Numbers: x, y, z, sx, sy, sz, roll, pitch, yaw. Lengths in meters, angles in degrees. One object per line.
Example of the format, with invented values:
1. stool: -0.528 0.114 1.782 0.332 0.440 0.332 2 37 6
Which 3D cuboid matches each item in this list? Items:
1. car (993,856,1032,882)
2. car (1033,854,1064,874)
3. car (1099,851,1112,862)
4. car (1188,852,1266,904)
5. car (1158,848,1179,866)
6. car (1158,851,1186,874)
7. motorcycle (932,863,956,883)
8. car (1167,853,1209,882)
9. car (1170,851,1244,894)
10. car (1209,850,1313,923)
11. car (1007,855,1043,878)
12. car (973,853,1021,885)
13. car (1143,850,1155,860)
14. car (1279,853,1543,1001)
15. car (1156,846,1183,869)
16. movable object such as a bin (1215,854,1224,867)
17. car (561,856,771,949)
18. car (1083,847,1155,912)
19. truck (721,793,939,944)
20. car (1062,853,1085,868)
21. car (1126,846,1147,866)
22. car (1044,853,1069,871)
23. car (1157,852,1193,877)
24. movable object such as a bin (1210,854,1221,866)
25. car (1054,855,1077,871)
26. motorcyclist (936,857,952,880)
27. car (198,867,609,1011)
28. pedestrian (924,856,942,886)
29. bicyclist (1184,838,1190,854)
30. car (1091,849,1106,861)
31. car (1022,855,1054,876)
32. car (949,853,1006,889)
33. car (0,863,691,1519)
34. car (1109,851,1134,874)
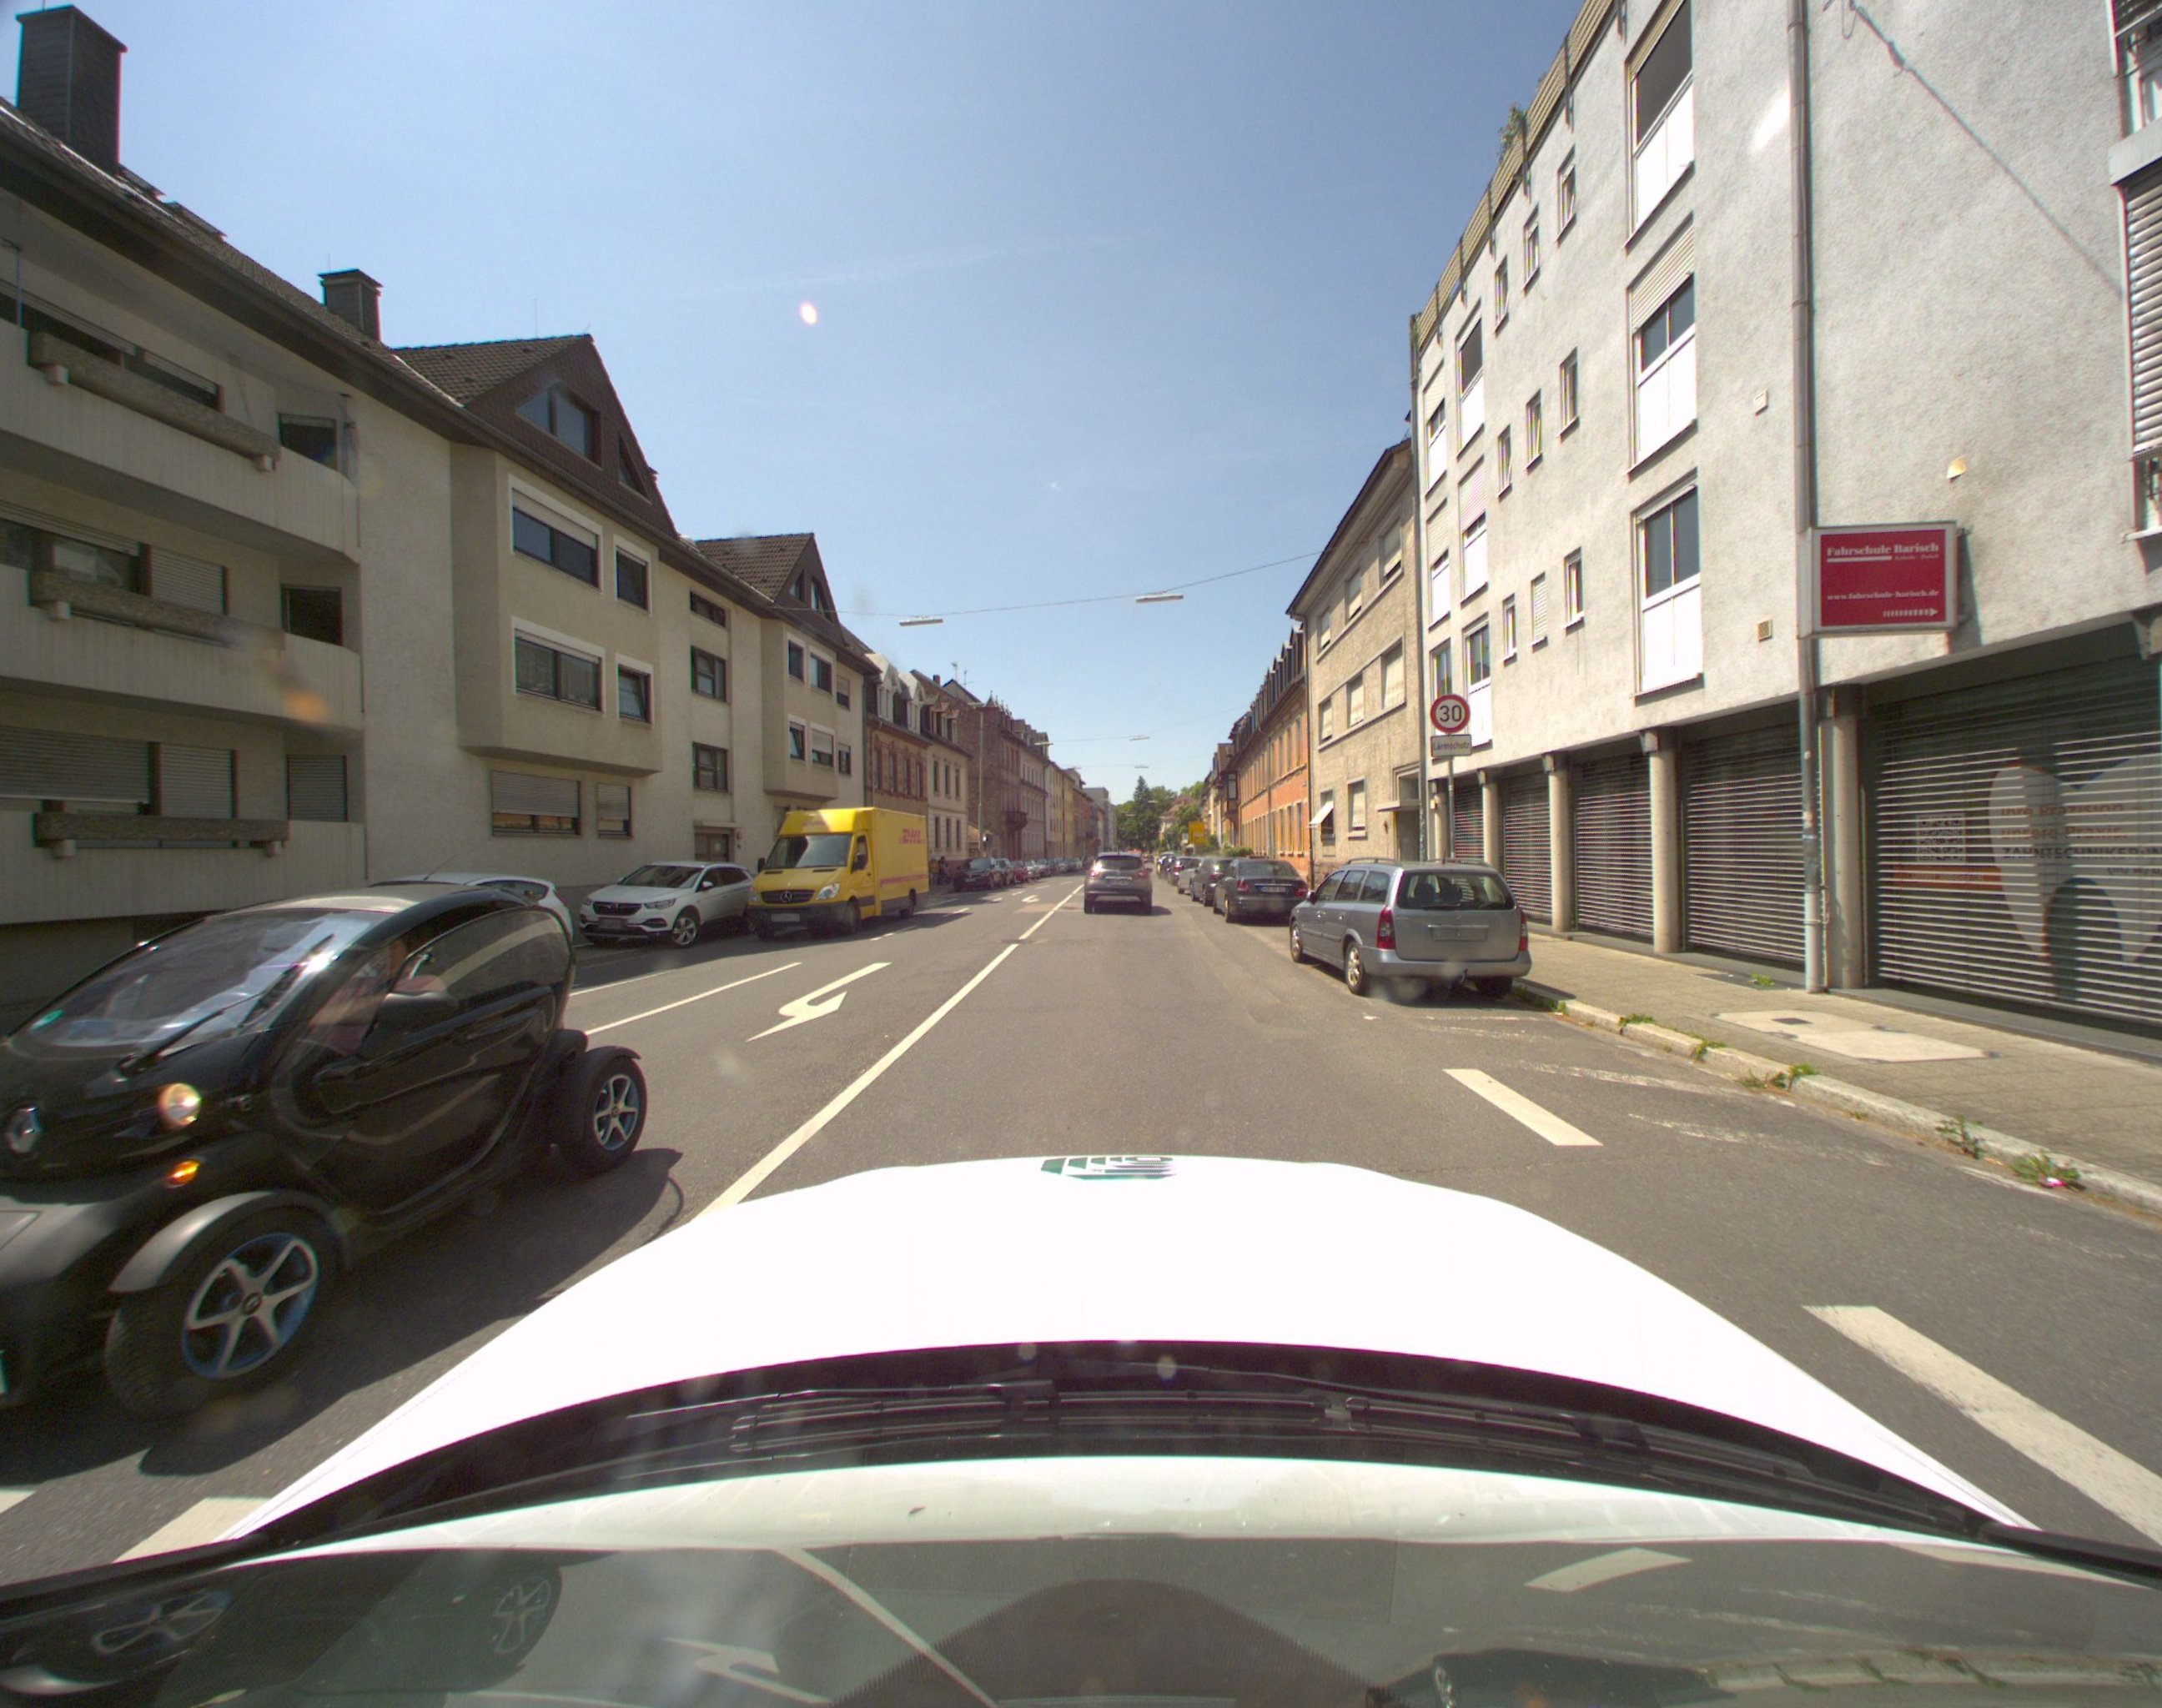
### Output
1. car: -4.197 0.914 50.789 1.833 1.422 4.504 -4 0 2
2. car: -2.743 0.820 69.144 1.830 1.422 4.510 -5 -1 6
3. car: 3.956 0.360 131.000 1.897 1.619 4.304 -3 0 2
4. car: 4.358 0.662 24.865 1.646 1.420 4.048 -1 0 0
5. car: 8.745 0.280 81.535 1.853 1.747 4.621 1 0 3
6. car: 6.074 0.559 54.730 1.708 1.414 4.596 -2 0 5
7. motorcycle: -7.687 1.063 45.735 0.841 1.078 1.874 -1 0 5
8. car: 5.293 0.654 40.644 1.694 1.380 4.169 -1 0 2
9. car: 4.604 0.632 30.309 1.849 1.463 4.546 -1 0 -3
10. car: 4.097 0.676 19.163 1.704 1.473 4.442 -1 0 3
11. car: -3.903 0.869 57.448 1.831 1.422 4.508 -3 0 4
12. car: -4.698 0.809 46.310 1.831 1.596 4.508 -5 -1 4
13. car: 10.643 0.184 127.426 1.754 1.560 3.950 -1 0 7
14. car: 3.755 0.715 10.107 1.671 1.454 4.143 0 0 1
15. car: 6.891 0.263 63.846 1.984 1.662 4.632 -2 0 5
16. movable object such as a bin: 11.847 0.530 69.661 0.655 1.055 0.750 -1 0 6
17. car: -8.184 0.863 16.607 1.832 1.595 4.389 1 0 2
18. car: 0.945 0.617 22.250 1.738 1.616 3.999 0 0 -1
19. truck: -5.470 0.272 19.352 2.215 2.771 7.572 -3 0 4
20. car: -0.783 0.646 86.041 1.830 1.422 4.566 -4 -1 6
21. car: 5.983 0.172 87.649 1.983 2.013 4.474 -2 0 6
22. car: -2.193 0.711 74.382 1.832 1.422 4.506 -3 0 3
23. car: 5.655 0.598 49.483 1.643 1.414 4.500 -1 0 -1
24. movable object such as a bin: 10.492 0.463 63.684 0.785 0.907 0.539 -2 0 2
25. car: -1.456 0.853 80.284 1.832 1.422 4.650 -3 0 3
26. motorcyclist: -7.662 0.809 45.544 0.715 1.248 0.713 -1 0 4
27. car: -8.790 0.979 11.224 1.832 1.489 4.389 1 0 2
28. pedestrian: -7.519 0.855 41.391 0.605 1.495 0.972 0 0 5
29. bicyclist: 9.877 -0.778 76.067 0.530 1.469 0.792 -2 0 6
30. car: 2.576 0.136 119.369 1.896 1.619 4.308 -3 0 5
31. car: -3.292 0.897 63.292 1.832 1.422 4.506 -6 -1 3
32. car: -5.057 0.802 40.384 1.831 1.597 4.508 -3 0 4
33. car: -2.921 0.802 3.206 1.493 1.459 2.720 -1 0 -2
34. car: 3.135 0.656 62.371 1.804 1.620 4.446 -3 0 4
